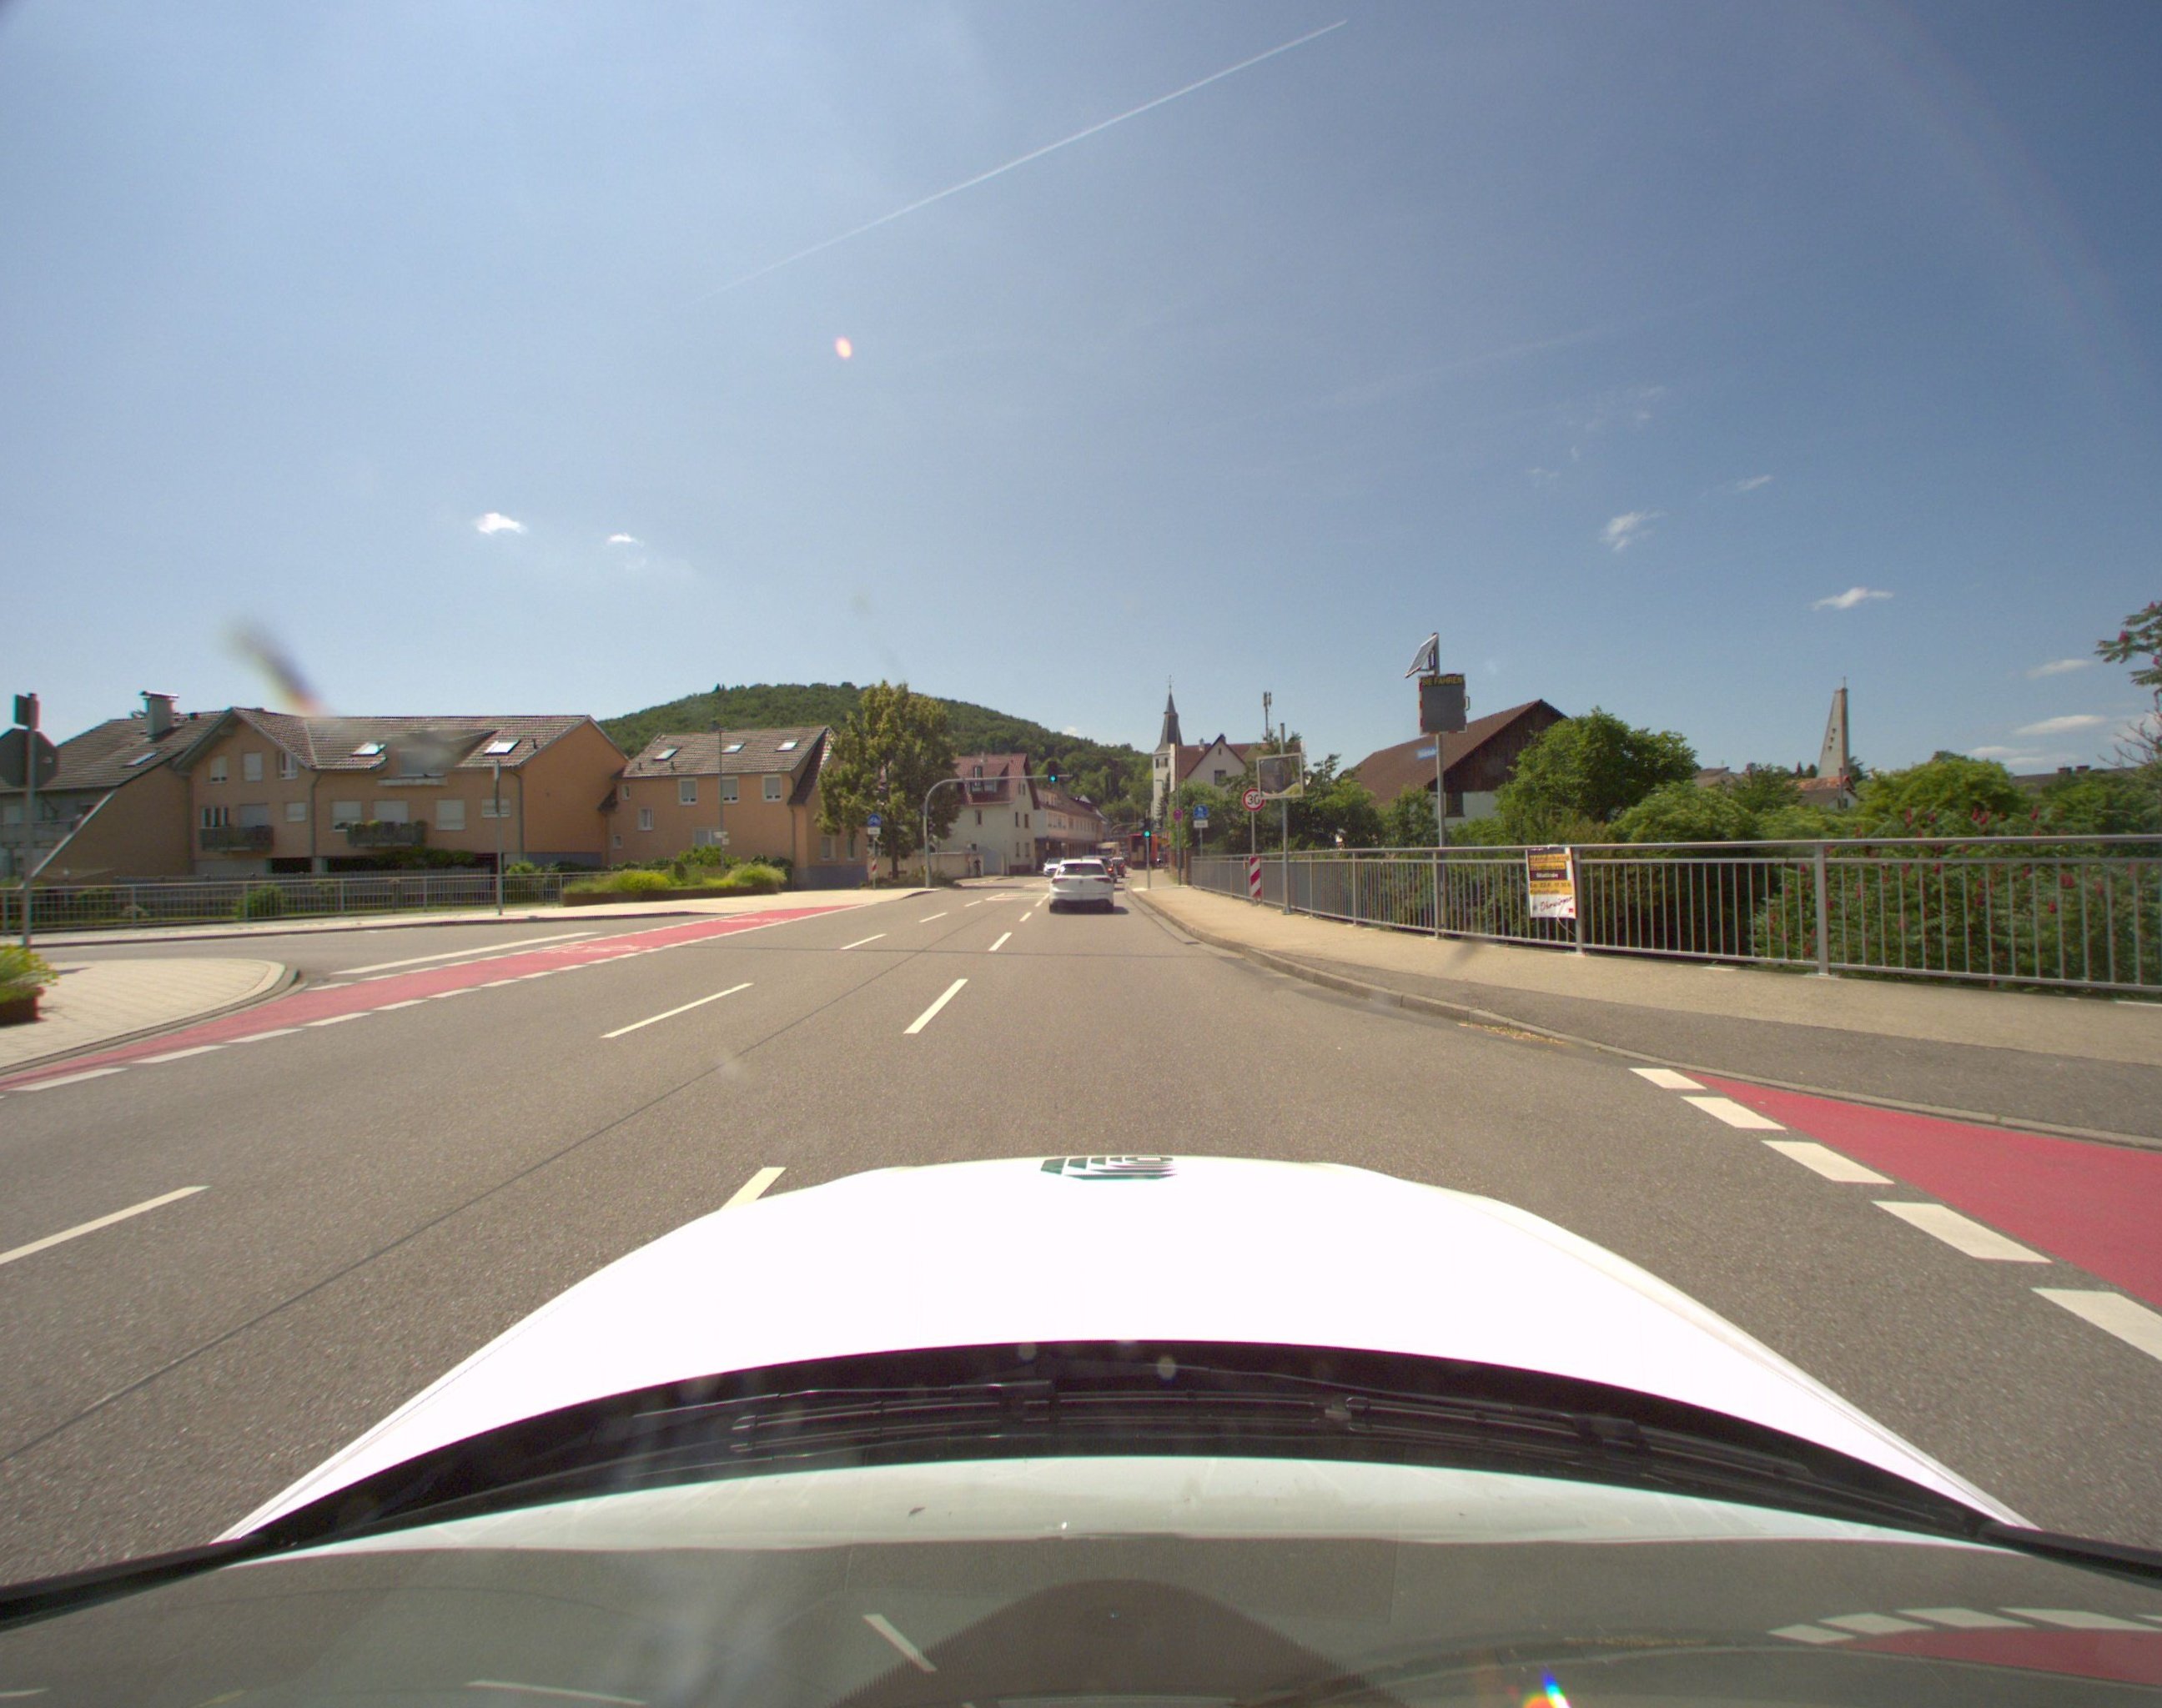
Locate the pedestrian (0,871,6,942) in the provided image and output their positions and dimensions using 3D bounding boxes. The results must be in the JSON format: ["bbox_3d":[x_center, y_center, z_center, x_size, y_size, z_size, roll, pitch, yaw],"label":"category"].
[{"bbox_3d":[-27.187,1.312,20.116,0.617,1.749,0.501,-1,-1,-35],"label":"pedestrian"}]

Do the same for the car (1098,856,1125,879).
[{"bbox_3d":[2.392,1.032,63.079,1.807,1.629,4.004,-2,-1,4],"label":"car"}]

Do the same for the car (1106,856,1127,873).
[{"bbox_3d":[3.443,0.995,77.711,1.807,1.519,4.004,-2,-1,4],"label":"car"}]

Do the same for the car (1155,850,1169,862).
[{"bbox_3d":[10.965,0.299,110.742,1.807,1.519,4.004,-2,-1,4],"label":"car"}]

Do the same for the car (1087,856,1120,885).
[{"bbox_3d":[1.424,1.015,50.334,1.807,1.629,4.004,-2,-1,4],"label":"car"}]

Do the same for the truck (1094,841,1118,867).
[{"bbox_3d":[3.406,0.010,109.484,2.488,3.235,6.052,-2,-1,7],"label":"truck"}]

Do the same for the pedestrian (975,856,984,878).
[{"bbox_3d":[-8.290,1.077,66.660,0.430,1.764,0.560,-2,0,23],"label":"pedestrian"}]

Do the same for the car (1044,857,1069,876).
[{"bbox_3d":[-2.155,1.127,71.933,1.807,1.650,4.004,0,-1,4],"label":"car"}]

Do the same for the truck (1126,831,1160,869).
[{"bbox_3d":[7.387,-0.376,95.810,3.349,4.170,9.536,-2,-1,7],"label":"truck"}]

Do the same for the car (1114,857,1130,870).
[{"bbox_3d":[5.056,1.190,100.038,1.807,1.519,4.004,-2,-1,4],"label":"car"}]

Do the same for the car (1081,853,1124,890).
[{"bbox_3d":[1.074,0.816,39.328,1.807,1.629,4.004,-2,-1,4],"label":"car"}]

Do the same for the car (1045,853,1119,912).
[{"bbox_3d":[0.118,0.764,23.195,1.807,1.519,4.004,0,-1,4],"label":"car"}]
